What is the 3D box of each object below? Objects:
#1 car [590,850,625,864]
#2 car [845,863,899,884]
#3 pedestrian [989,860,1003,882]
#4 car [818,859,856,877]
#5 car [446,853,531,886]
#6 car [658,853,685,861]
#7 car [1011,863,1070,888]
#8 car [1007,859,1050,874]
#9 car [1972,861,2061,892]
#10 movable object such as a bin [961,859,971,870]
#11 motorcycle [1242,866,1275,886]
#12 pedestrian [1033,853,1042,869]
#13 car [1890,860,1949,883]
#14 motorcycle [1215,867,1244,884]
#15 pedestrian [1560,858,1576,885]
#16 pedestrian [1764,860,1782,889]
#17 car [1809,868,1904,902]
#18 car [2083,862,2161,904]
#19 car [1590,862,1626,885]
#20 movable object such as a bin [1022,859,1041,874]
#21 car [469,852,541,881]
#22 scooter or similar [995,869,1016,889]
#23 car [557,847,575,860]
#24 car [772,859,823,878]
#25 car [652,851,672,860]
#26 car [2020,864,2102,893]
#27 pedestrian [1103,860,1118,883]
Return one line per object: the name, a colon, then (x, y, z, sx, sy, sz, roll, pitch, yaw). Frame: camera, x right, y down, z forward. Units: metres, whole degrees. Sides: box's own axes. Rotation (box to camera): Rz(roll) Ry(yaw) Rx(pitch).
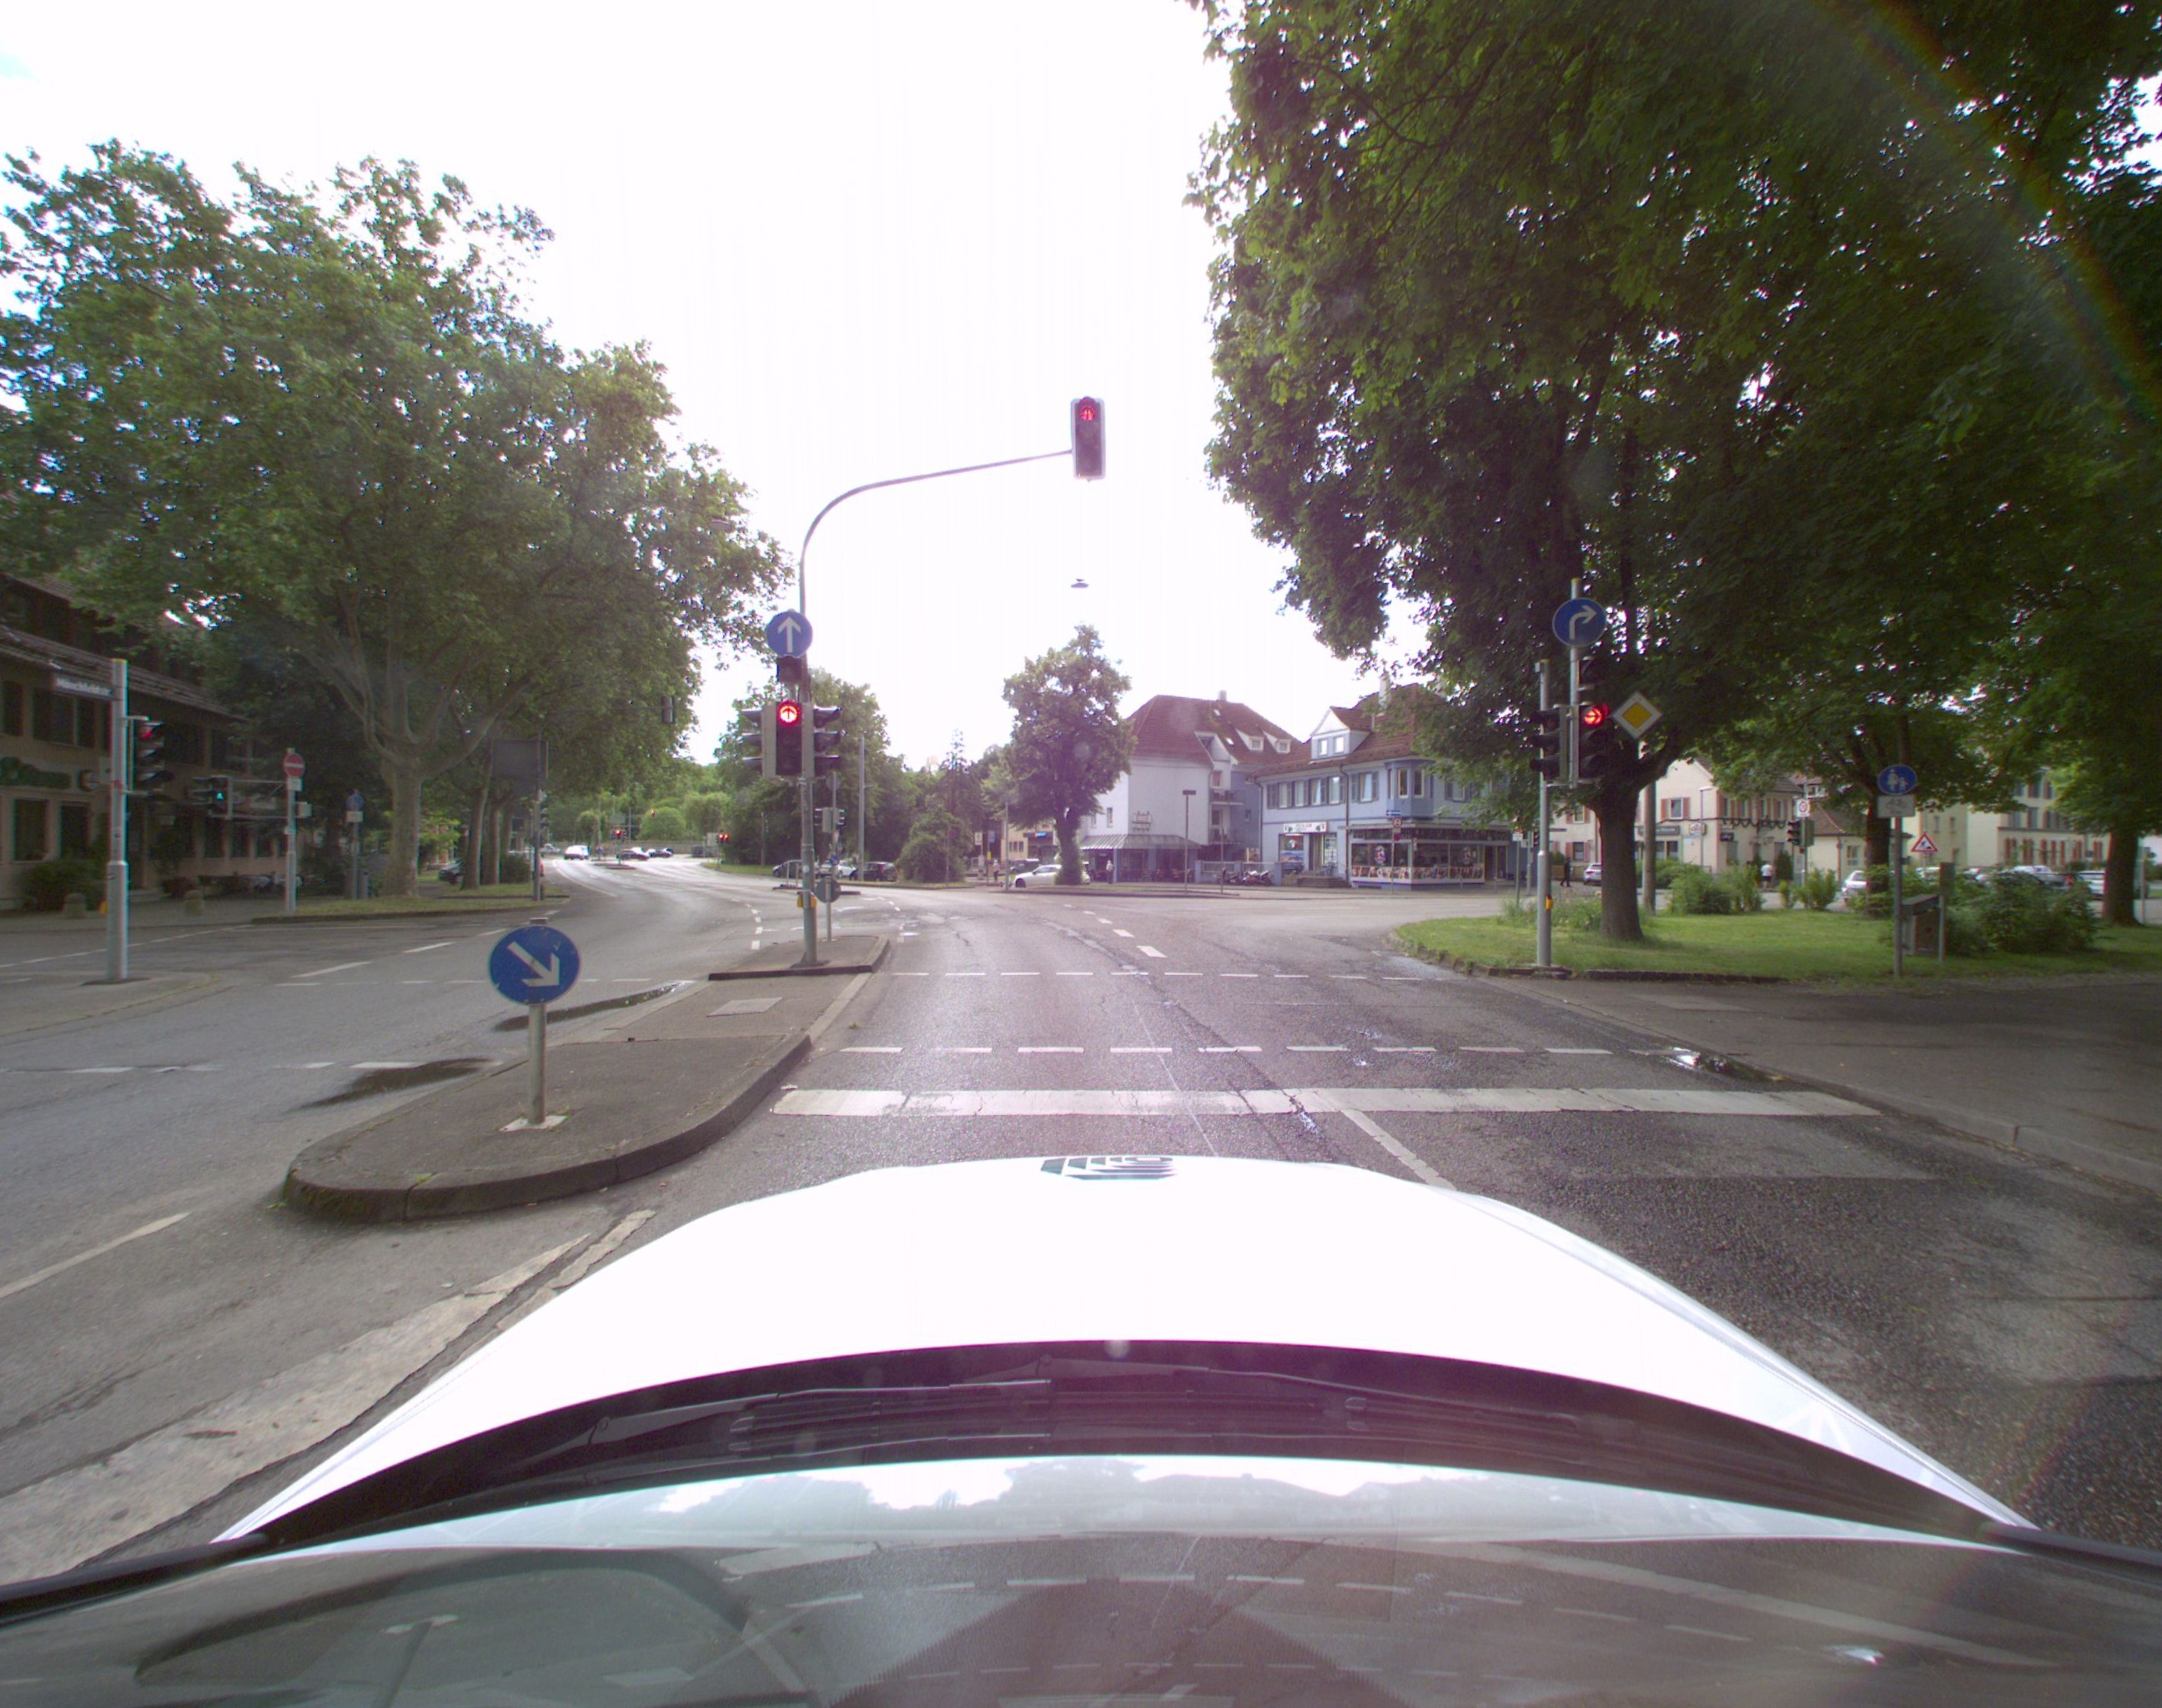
car: (-69.793, 0.495, 120.083, 3.993, 2.014, 1.855, 0, -1, -14)
car: (-13.907, 1.269, 54.203, 3.549, 1.394, 1.481, 0, -1, 34)
pedestrian: (-6.099, 1.205, 58.457, 0.699, 1.545, 0.682, -1, -1, 42)
car: (-20.081, 1.134, 67.184, 1.534, 1.464, 3.407, 0, 0, 13)
car: (-31.000, 0.787, 42.714, 3.461, 1.641, 1.557, 0, -1, -31)
car: (-74.435, 0.557, 148.181, 3.993, 1.551, 1.860, 0, 0, -15)
car: (-2.307, 1.204, 46.238, 3.134, 1.354, 1.448, 0, -1, 36)
car: (-4.883, 1.138, 76.155, 3.752, 1.345, 1.422, 0, 0, -25)
car: (42.218, 0.975, 36.755, 3.510, 1.321, 1.549, 0, 0, -21)
movable object such as a bin: (-12.224, 1.124, 86.637, 0.953, 1.115, 0.381, 0, -1, -19)
motorcycle: (10.536, 1.288, 48.264, 1.777, 1.121, 0.699, 0, -1, 40)
pedestrian: (-4.262, 0.718, 79.464, 0.681, 1.545, 0.701, 0, -1, -32)
car: (55.116, 1.125, 53.534, 4.007, 1.420, 1.544, 0, 0, -26)
motorcycle: (9.114, 1.315, 50.078, 0.699, 1.064, 1.617, 0, -1, -44)
pedestrian: (27.840, 1.002, 46.568, 0.460, 1.517, 0.582, 0, -1, -27)
pedestrian: (40.364, 1.187, 47.490, 0.611, 1.649, 0.606, 0, -1, -27)
car: (31.965, 1.251, 33.570, 3.511, 1.321, 1.549, 0, 0, -22)
car: (52.833, 1.433, 41.130, 4.004, 2.014, 1.770, 0, -1, -23)
car: (32.603, 1.184, 50.343, 1.481, 1.369, 3.198, -1, -1, 40)
movable object such as a bin: (-4.525, 1.136, 74.247, 1.447, 1.409, 0.959, 0, -1, -25)
car: (-35.484, 0.760, 50.279, 3.461, 1.742, 1.557, 0, -1, -31)
scooter or similar: (-3.976, 1.292, 42.880, 0.413, 1.011, 1.575, -1, -1, 22)
car: (-59.454, -0.087, 93.970, 1.440, 1.416, 2.838, 0, -1, -39)
car: (-22.439, 1.118, 64.482, 3.520, 1.464, 1.591, 0, 0, 14)
car: (-95.510, 0.447, 185.593, 4.011, 2.014, 1.981, 0, -1, -29)
car: (47.005, 1.165, 39.063, 3.511, 1.321, 1.549, 0, 0, -22)
pedestrian: (1.967, 1.144, 54.001, 0.759, 1.545, 0.682, -1, -1, 41)
